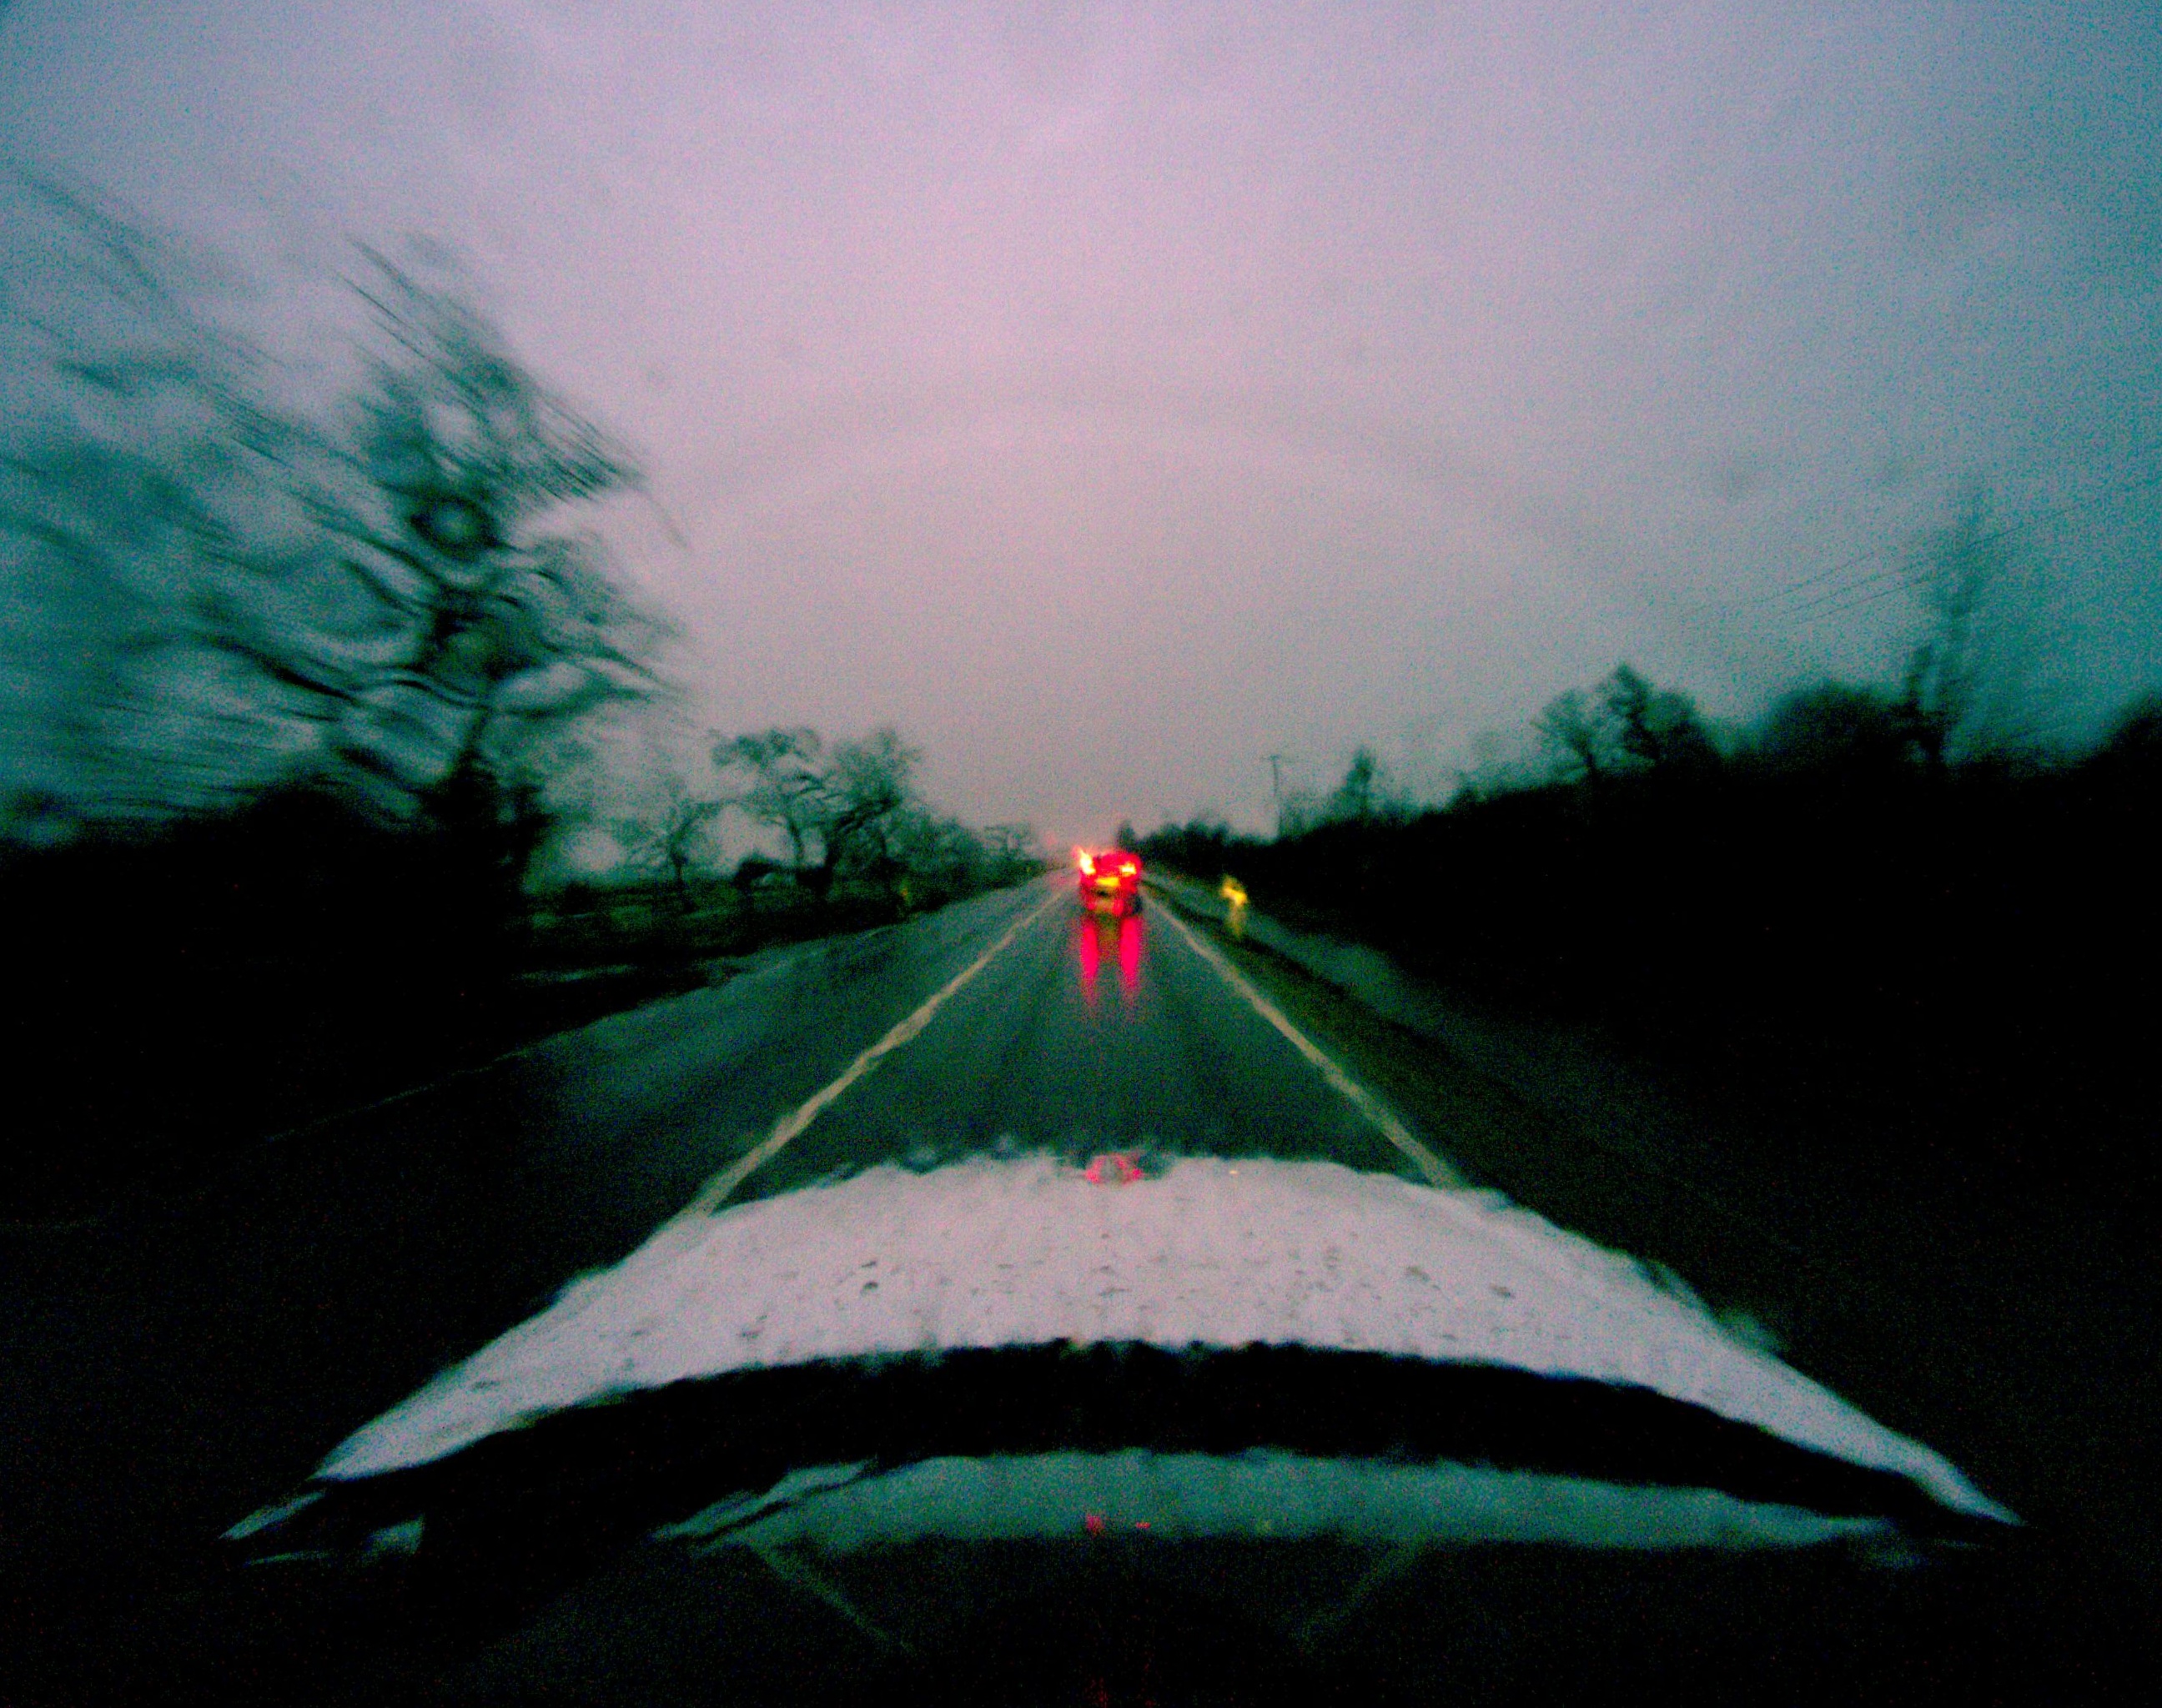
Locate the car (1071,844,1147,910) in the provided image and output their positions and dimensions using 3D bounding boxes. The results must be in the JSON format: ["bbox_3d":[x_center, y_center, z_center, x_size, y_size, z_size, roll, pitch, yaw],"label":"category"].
[{"bbox_3d":[0.861,0.635,25.385,2.112,1.820,4.982,-1,0,2],"label":"car"}]

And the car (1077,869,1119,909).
[{"bbox_3d":[0.887,1.709,40.832,1.986,1.849,4.001,0,0,2],"label":"car"}]

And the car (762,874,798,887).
[{"bbox_3d":[-32.340,2.831,87.615,3.444,1.342,1.592,0,-1,-13],"label":"car"}]
